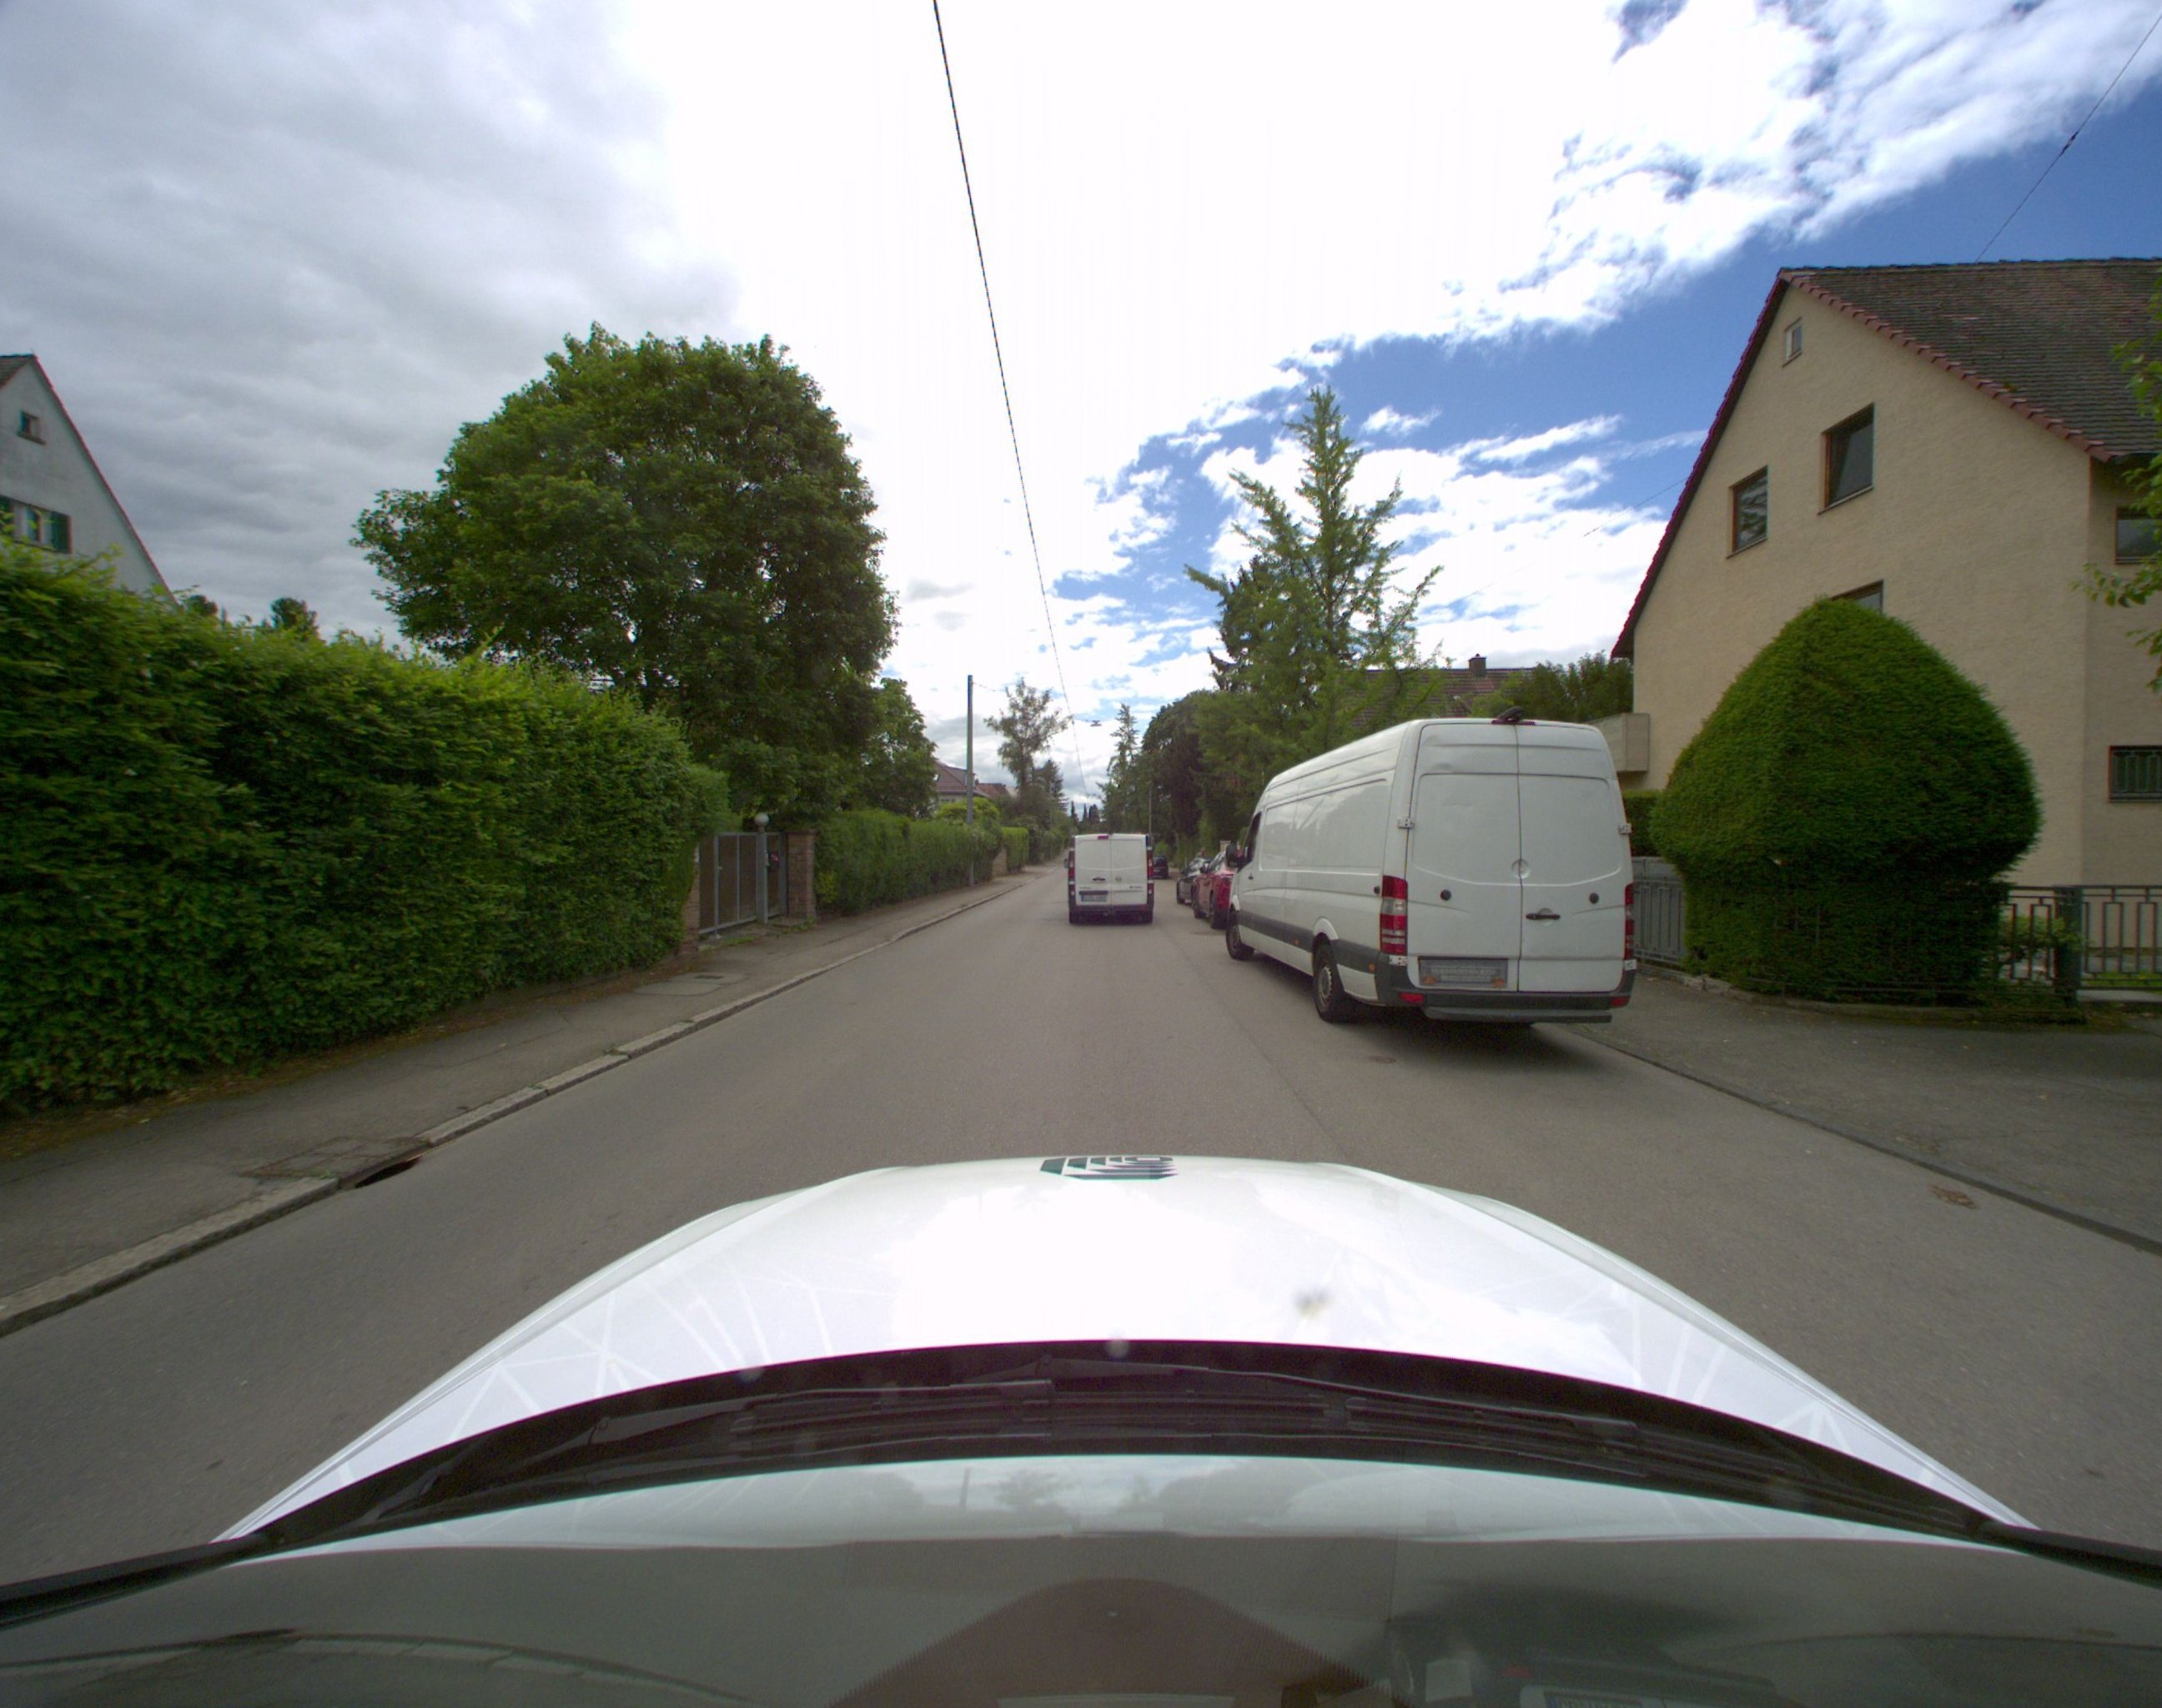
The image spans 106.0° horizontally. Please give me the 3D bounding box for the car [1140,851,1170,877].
[{"bbox_3d":[4.486,0.592,49.793,1.617,1.473,3.741,1,1,1],"label":"car"}]

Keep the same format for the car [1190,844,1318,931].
[{"bbox_3d":[3.574,0.624,17.697,1.881,1.581,4.767,-2,0,2],"label":"car"}]

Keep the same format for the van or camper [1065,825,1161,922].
[{"bbox_3d":[0.685,0.395,19.198,1.933,1.954,4.765,1,0,0],"label":"van or camper"}]

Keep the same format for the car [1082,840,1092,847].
[{"bbox_3d":[1.403,-2.406,186.002,1.797,1.431,4.306,-2,1,4],"label":"car"}]

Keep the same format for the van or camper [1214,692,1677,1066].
[{"bbox_3d":[3.170,0.174,9.297,2.035,2.620,7.036,1,0,-1],"label":"van or camper"}]

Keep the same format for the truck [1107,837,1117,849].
[{"bbox_3d":[6.863,-2.513,180.151,2.179,2.471,7.433,1,1,1],"label":"truck"}]

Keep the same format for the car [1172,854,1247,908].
[{"bbox_3d":[3.732,0.737,24.247,1.672,1.407,4.055,-2,0,2],"label":"car"}]

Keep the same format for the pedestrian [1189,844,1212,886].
[{"bbox_3d":[4.982,0.445,33.994,0.669,1.698,0.914,-1,0,-11],"label":"pedestrian"}]
